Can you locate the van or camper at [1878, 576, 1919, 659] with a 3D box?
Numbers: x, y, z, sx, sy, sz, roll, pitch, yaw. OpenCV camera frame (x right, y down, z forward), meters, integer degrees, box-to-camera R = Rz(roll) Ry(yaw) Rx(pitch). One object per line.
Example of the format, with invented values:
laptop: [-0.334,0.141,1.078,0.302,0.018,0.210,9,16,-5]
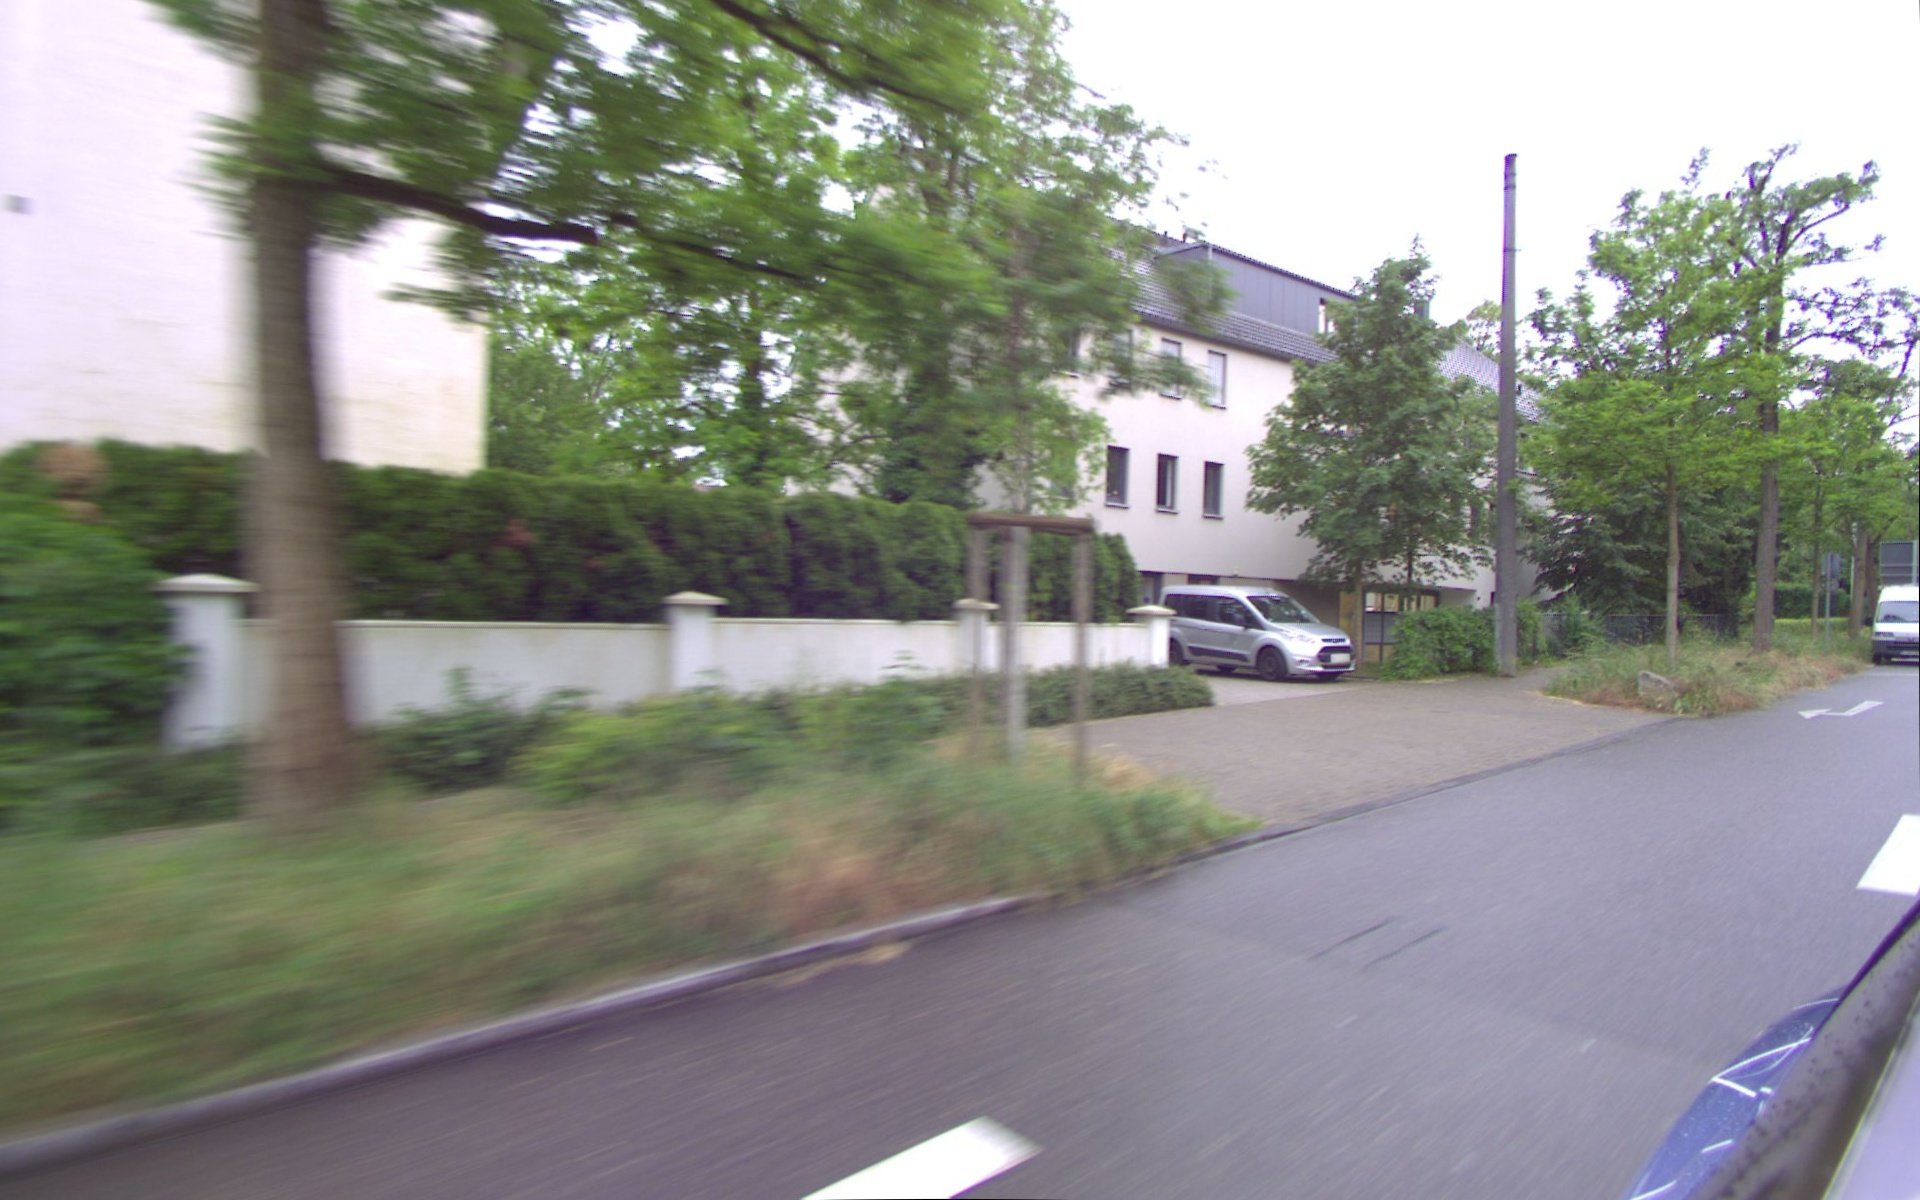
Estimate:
van or camper: [31.237,0.541,32.551,5.543,2.511,2.039,0,-2,-43]

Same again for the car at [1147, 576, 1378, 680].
car: [5.909,0.500,20.283,1.837,1.841,4.322,1,0,-31]
